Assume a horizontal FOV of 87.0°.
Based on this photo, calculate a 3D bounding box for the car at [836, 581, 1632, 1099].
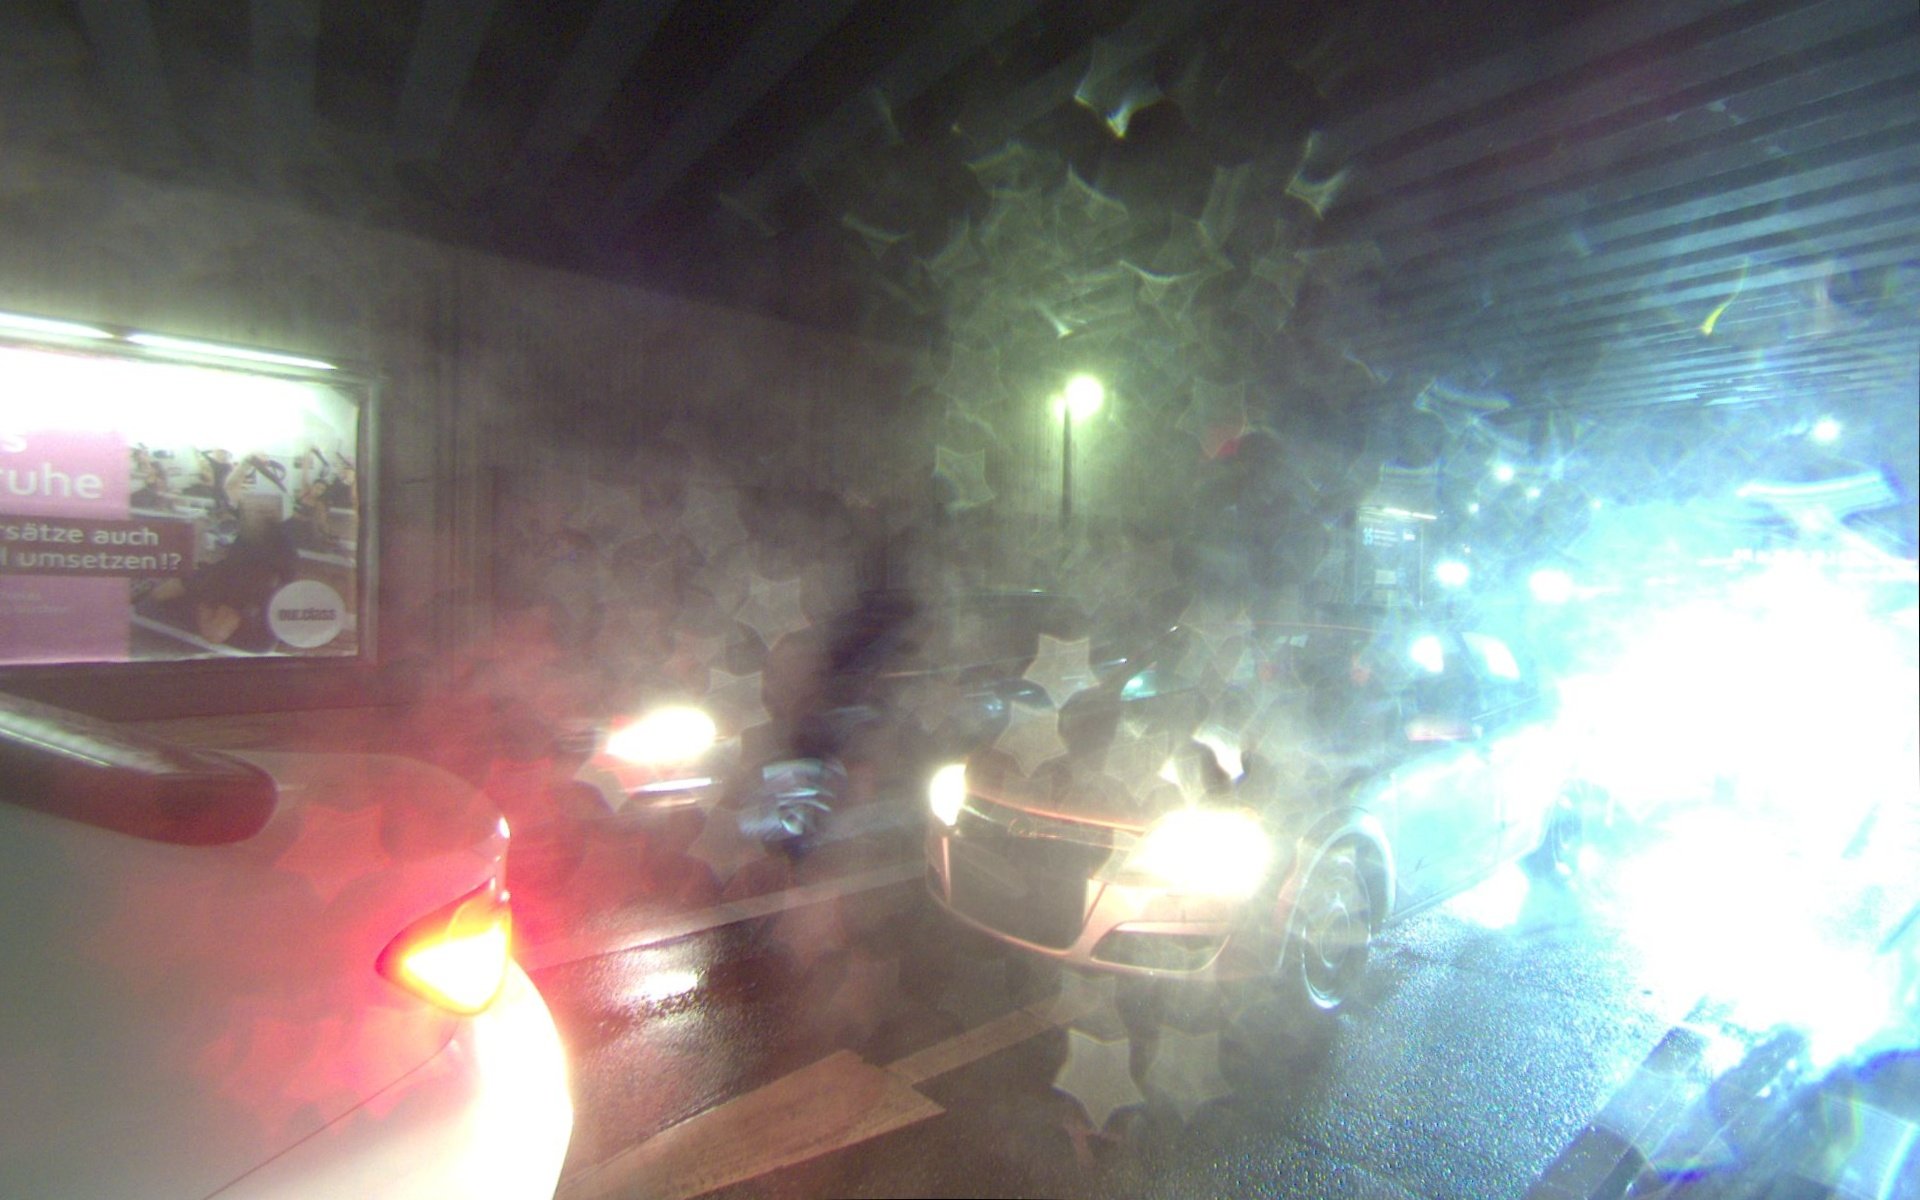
[{"bbox_3d":[1.551,0.644,4.819,3.931,1.384,1.791,-2,2,-41],"label":"car"}]

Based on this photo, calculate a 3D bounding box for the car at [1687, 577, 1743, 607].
[{"bbox_3d":[39.875,-0.452,53.561,1.838,1.449,4.455,0,2,30],"label":"car"}]

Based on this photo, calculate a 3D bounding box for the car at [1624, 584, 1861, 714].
[{"bbox_3d":[10.741,0.551,13.819,3.701,1.531,1.867,-1,0,-41],"label":"car"}]

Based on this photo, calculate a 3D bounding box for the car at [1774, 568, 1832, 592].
[{"bbox_3d":[63.406,-1.464,76.182,1.885,1.763,4.371,0,0,19],"label":"car"}]

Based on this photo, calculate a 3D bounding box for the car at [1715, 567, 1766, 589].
[{"bbox_3d":[66.348,-1.860,86.124,1.946,1.763,4.887,0,0,20],"label":"car"}]

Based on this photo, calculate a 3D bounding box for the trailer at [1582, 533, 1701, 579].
[{"bbox_3d":[70.141,-4.425,104.783,3.900,4.229,13.901,0,0,5],"label":"trailer"}]

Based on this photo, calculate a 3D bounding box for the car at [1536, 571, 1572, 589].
[{"bbox_3d":[59.320,-1.954,101.113,1.943,1.763,4.894,0,0,16],"label":"car"}]

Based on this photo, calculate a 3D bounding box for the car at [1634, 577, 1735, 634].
[{"bbox_3d":[20.705,0.097,28.850,1.847,1.449,4.434,0,2,42],"label":"car"}]

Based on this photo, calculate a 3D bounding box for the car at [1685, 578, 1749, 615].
[{"bbox_3d":[32.441,-0.173,43.465,1.868,1.490,3.954,0,0,33],"label":"car"}]

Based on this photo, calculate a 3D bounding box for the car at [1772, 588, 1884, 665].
[{"bbox_3d":[18.738,0.499,21.793,1.678,1.490,3.938,0,0,43],"label":"car"}]

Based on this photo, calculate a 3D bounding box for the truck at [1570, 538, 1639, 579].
[{"bbox_3d":[70.672,-4.486,111.169,3.900,4.229,6.368,0,0,5],"label":"truck"}]

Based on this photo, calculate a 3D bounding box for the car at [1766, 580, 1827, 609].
[{"bbox_3d":[45.860,-0.348,55.545,1.838,1.449,4.455,0,2,30],"label":"car"}]

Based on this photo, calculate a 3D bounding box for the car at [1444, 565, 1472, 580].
[{"bbox_3d":[65.638,-3.616,133.516,1.938,1.763,4.906,0,0,9],"label":"car"}]

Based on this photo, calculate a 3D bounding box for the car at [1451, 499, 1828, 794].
[{"bbox_3d":[6.494,0.309,9.475,4.274,2.115,1.996,-1,0,-43],"label":"car"}]

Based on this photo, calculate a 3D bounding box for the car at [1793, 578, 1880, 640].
[{"bbox_3d":[24.574,0.218,28.349,1.737,1.610,3.939,0,0,42],"label":"car"}]

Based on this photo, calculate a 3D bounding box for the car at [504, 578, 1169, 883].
[{"bbox_3d":[-0.595,0.619,7.124,4.426,1.474,1.850,0,1,-43],"label":"car"}]

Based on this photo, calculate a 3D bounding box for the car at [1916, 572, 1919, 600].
[{"bbox_3d":[61.352,-0.898,62.542,1.839,1.771,4.471,0,0,23],"label":"car"}]

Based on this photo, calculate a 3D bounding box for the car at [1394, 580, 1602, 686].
[{"bbox_3d":[9.002,0.435,16.764,1.849,1.449,4.430,0,2,45],"label":"car"}]

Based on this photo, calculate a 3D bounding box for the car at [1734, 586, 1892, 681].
[{"bbox_3d":[15.355,0.511,18.148,3.931,1.522,1.627,-1,0,-42],"label":"car"}]

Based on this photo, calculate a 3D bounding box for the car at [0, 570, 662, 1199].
[{"bbox_3d":[-2.676,0.686,0.983,4.273,1.422,1.719,-1,0,-41],"label":"car"}]
